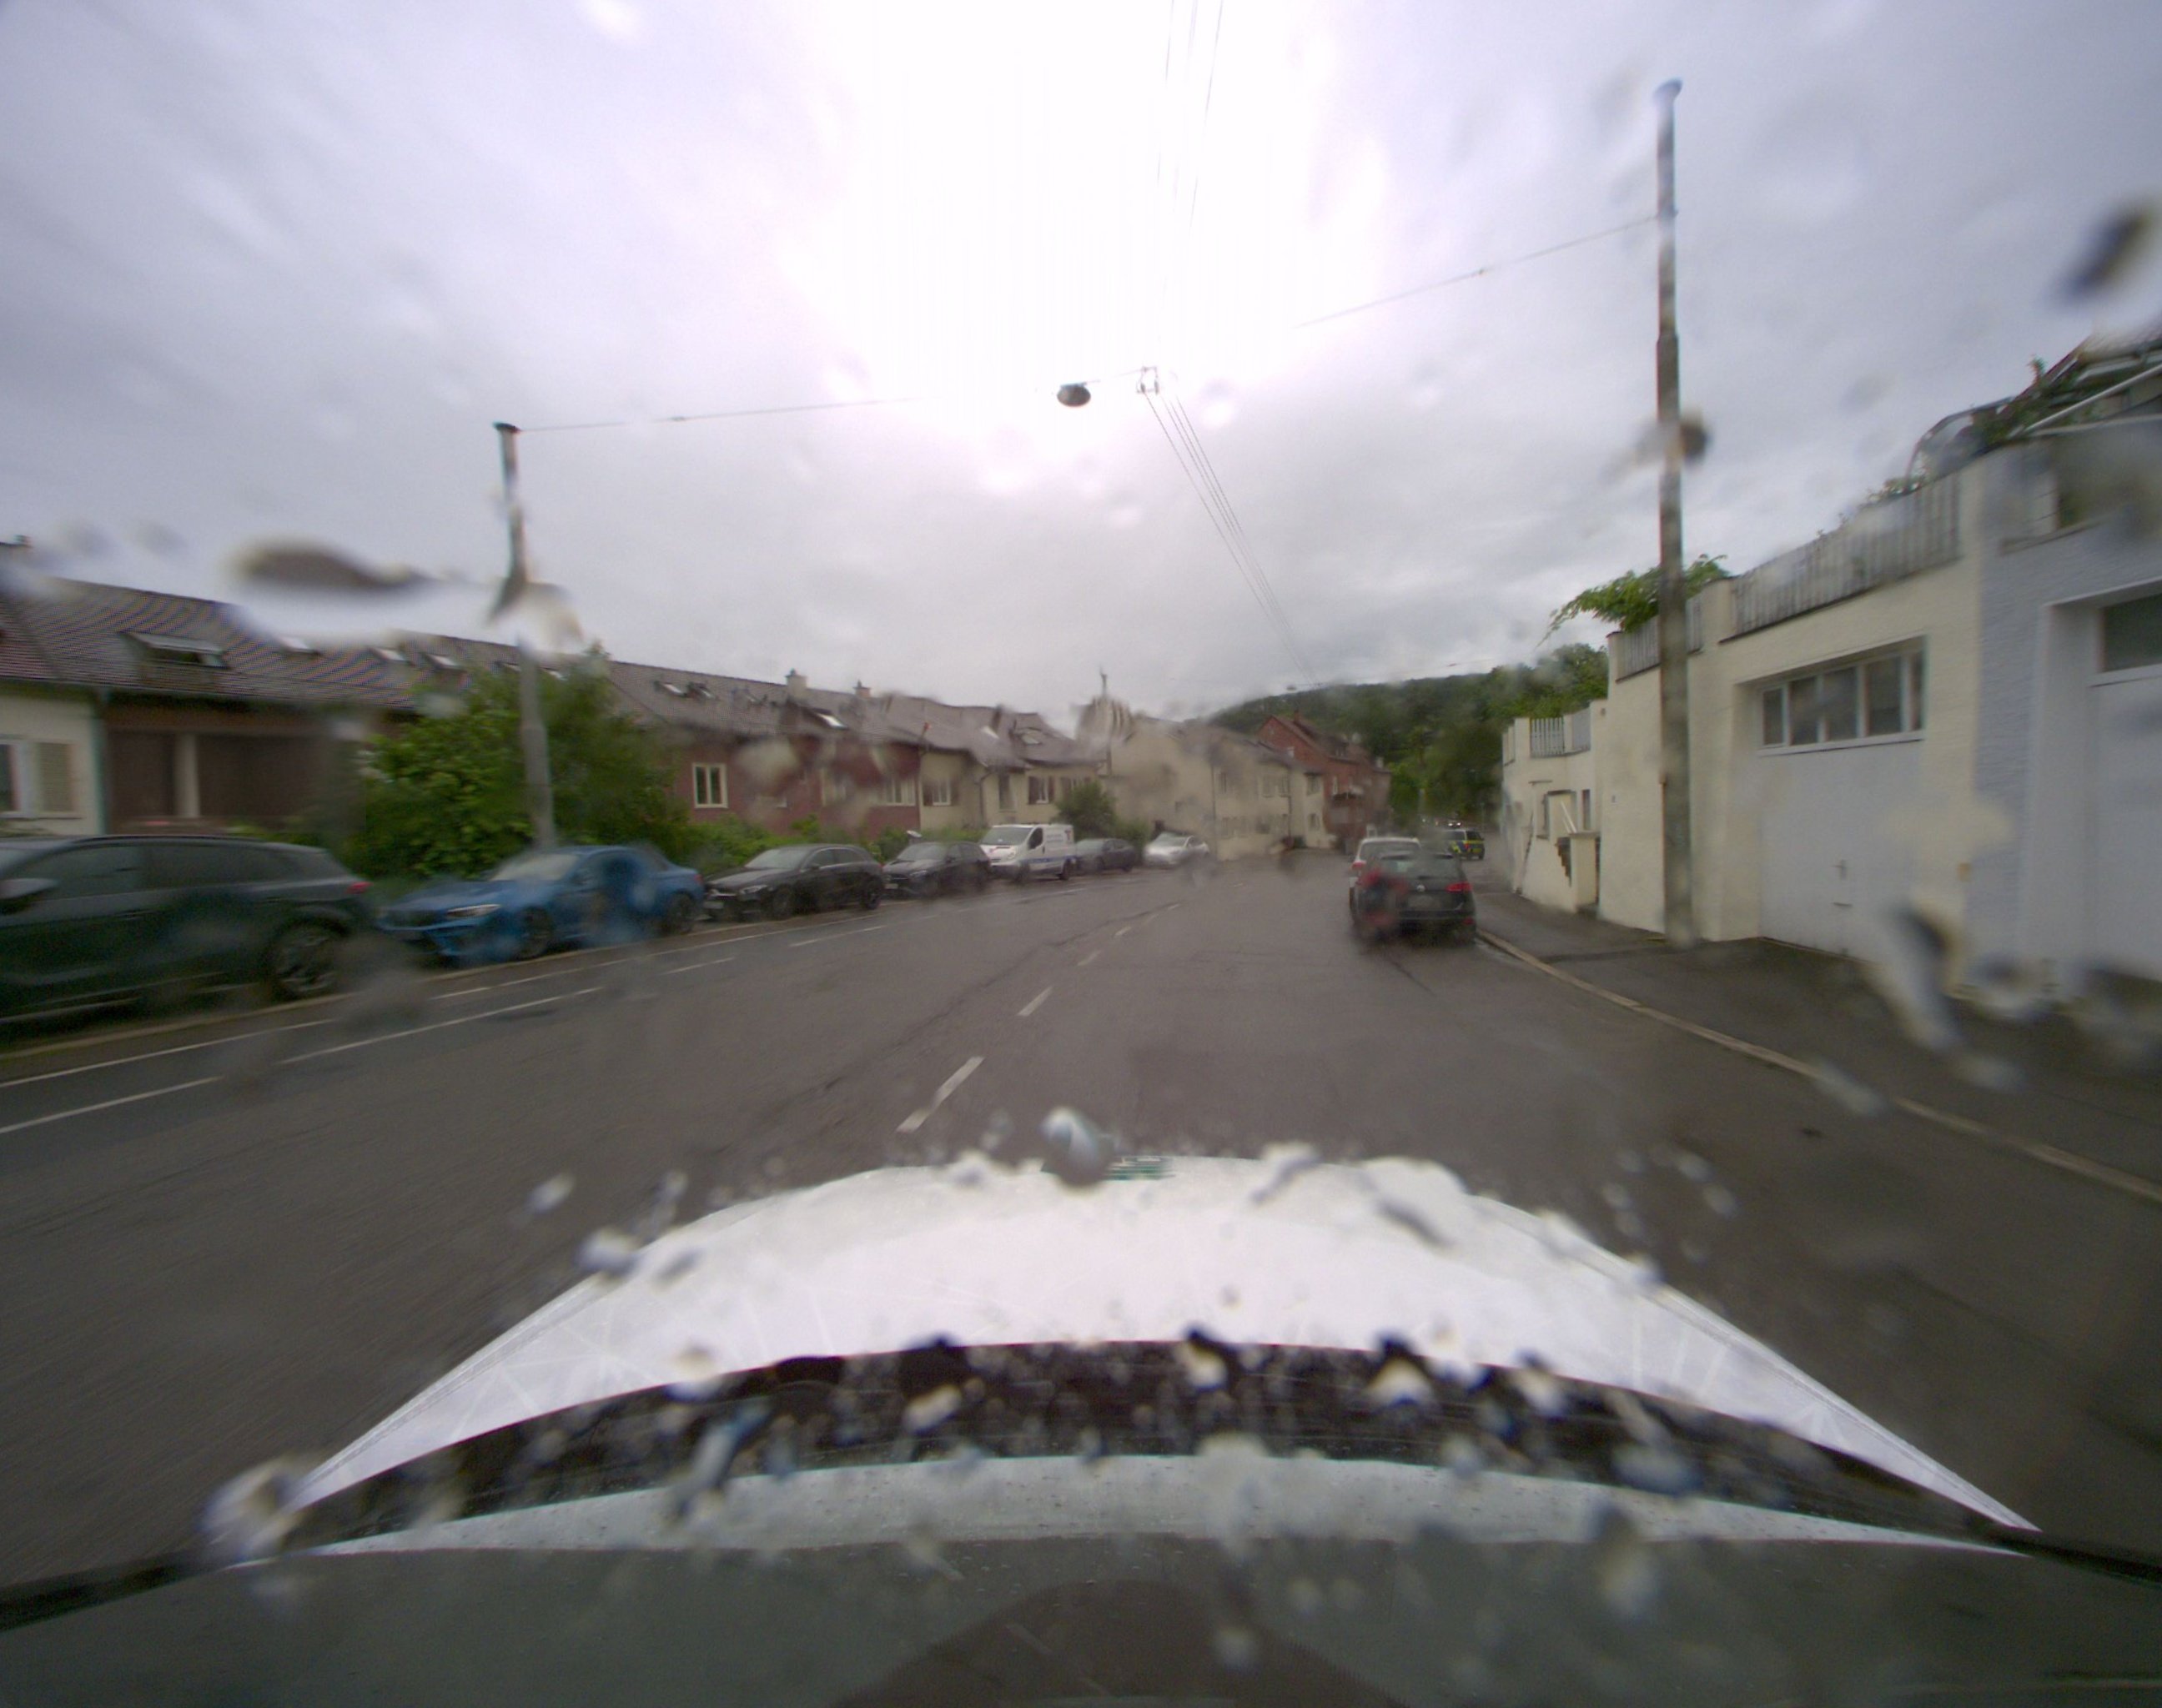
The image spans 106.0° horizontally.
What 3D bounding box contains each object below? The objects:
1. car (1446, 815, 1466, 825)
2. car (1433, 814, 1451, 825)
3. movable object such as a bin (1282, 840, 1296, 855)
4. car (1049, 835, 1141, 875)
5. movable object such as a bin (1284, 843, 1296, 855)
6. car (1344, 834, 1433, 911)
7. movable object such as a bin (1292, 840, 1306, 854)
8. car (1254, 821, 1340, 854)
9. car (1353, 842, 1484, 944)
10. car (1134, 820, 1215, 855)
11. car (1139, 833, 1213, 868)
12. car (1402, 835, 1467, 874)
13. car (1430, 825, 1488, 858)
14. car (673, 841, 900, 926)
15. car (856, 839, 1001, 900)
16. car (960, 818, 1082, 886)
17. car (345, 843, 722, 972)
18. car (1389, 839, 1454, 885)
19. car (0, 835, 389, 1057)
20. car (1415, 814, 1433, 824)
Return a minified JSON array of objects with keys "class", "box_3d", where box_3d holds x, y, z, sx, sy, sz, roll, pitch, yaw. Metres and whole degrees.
[{"class":"car","box_3d":[63.632,-5.811,138.200,1.732,1.549,4.008,-5,3,6]},{"class":"car","box_3d":[64.014,-6.148,144.317,1.732,1.549,4.009,-6,3,7]},{"class":"movable object such as a bin","box_3d":[15.330,-0.481,60.117,0.774,1.046,0.713,0,1,34]},{"class":"car","box_3d":[0.650,-0.002,33.043,1.791,1.476,4.550,0,1,29]},{"class":"movable object such as a bin","box_3d":[15.170,-0.379,59.106,0.666,0.859,0.713,0,1,34]},{"class":"car","box_3d":[7.446,0.362,19.742,1.788,1.649,4.232,-1,1,21]},{"class":"movable object such as a bin","box_3d":[16.205,-0.495,60.527,0.774,1.046,0.743,0,1,34]},{"class":"car","box_3d":[17.982,-1.320,68.113,6.589,2.553,2.181,0,0,35]},{"class":"car","box_3d":[5.640,0.542,14.061,1.665,1.483,4.220,0,1,17]},{"class":"car","box_3d":[5.702,-1.008,49.866,4.445,2.013,1.900,-1,2,31]},{"class":"car","box_3d":[4.770,-0.201,40.161,1.910,1.631,4.707,0,1,30]},{"class":"car","box_3d":[14.665,-0.040,33.627,1.772,1.496,4.736,0,1,32]},{"class":"car","box_3d":[24.034,-0.824,51.698,2.286,1.939,4.353,-1,2,40]},{"class":"car","box_3d":[-5.860,0.496,16.870,1.792,1.476,4.547,0,1,22]},{"class":"car","box_3d":[-3.991,0.338,22.182,1.793,1.476,4.545,0,1,20]},{"class":"car","box_3d":[-1.909,-0.115,27.659,1.831,2.078,5.050,0,1,26]},{"class":"car","box_3d":[-7.334,0.580,11.606,1.687,1.404,4.489,0,2,13]},{"class":"car","box_3d":[12.235,0.233,29.112,1.625,1.436,4.200,0,2,30]},{"class":"car","box_3d":[-8.563,0.644,6.519,1.910,1.577,4.399,0,1,8]},{"class":"car","box_3d":[63.706,-6.515,151.329,1.735,1.550,4.002,-5,2,2]}]
